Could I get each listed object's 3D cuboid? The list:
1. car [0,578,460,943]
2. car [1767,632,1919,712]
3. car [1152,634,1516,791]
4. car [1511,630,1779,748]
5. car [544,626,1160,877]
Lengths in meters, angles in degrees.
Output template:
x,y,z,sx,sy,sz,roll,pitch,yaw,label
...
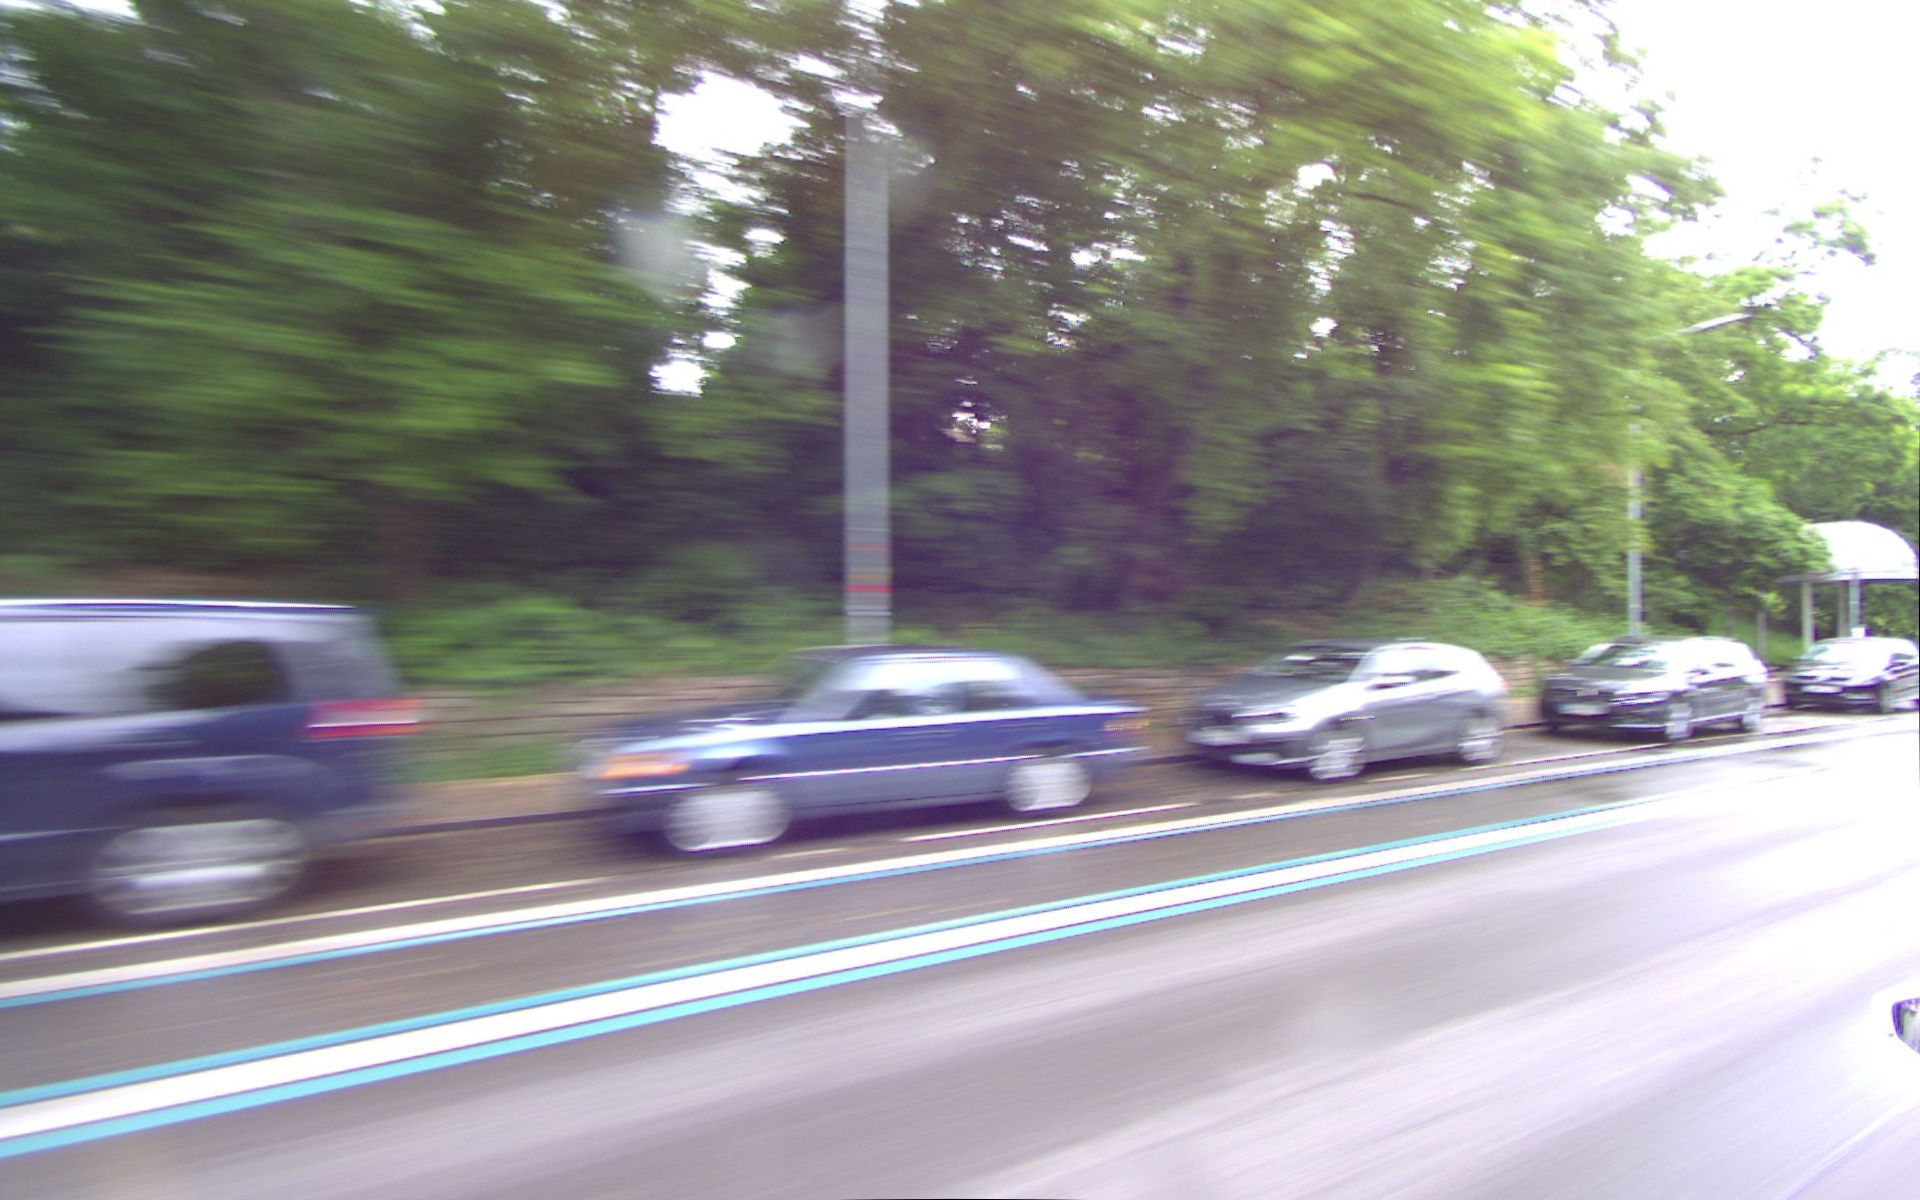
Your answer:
x,y,z,sx,sy,sz,roll,pitch,yaw,label
-5.494,0.786,5.477,4.786,1.765,1.979,0,-1,-33,car
18.397,1.412,20.690,3.950,1.477,1.661,1,-1,-33,car
4.408,1.155,11.660,4.248,1.442,1.774,0,-1,-32,car
10.711,1.256,15.593,4.709,1.483,1.943,0,0,-35,car
-0.761,1.009,8.494,4.845,1.492,1.972,0,0,-33,car
